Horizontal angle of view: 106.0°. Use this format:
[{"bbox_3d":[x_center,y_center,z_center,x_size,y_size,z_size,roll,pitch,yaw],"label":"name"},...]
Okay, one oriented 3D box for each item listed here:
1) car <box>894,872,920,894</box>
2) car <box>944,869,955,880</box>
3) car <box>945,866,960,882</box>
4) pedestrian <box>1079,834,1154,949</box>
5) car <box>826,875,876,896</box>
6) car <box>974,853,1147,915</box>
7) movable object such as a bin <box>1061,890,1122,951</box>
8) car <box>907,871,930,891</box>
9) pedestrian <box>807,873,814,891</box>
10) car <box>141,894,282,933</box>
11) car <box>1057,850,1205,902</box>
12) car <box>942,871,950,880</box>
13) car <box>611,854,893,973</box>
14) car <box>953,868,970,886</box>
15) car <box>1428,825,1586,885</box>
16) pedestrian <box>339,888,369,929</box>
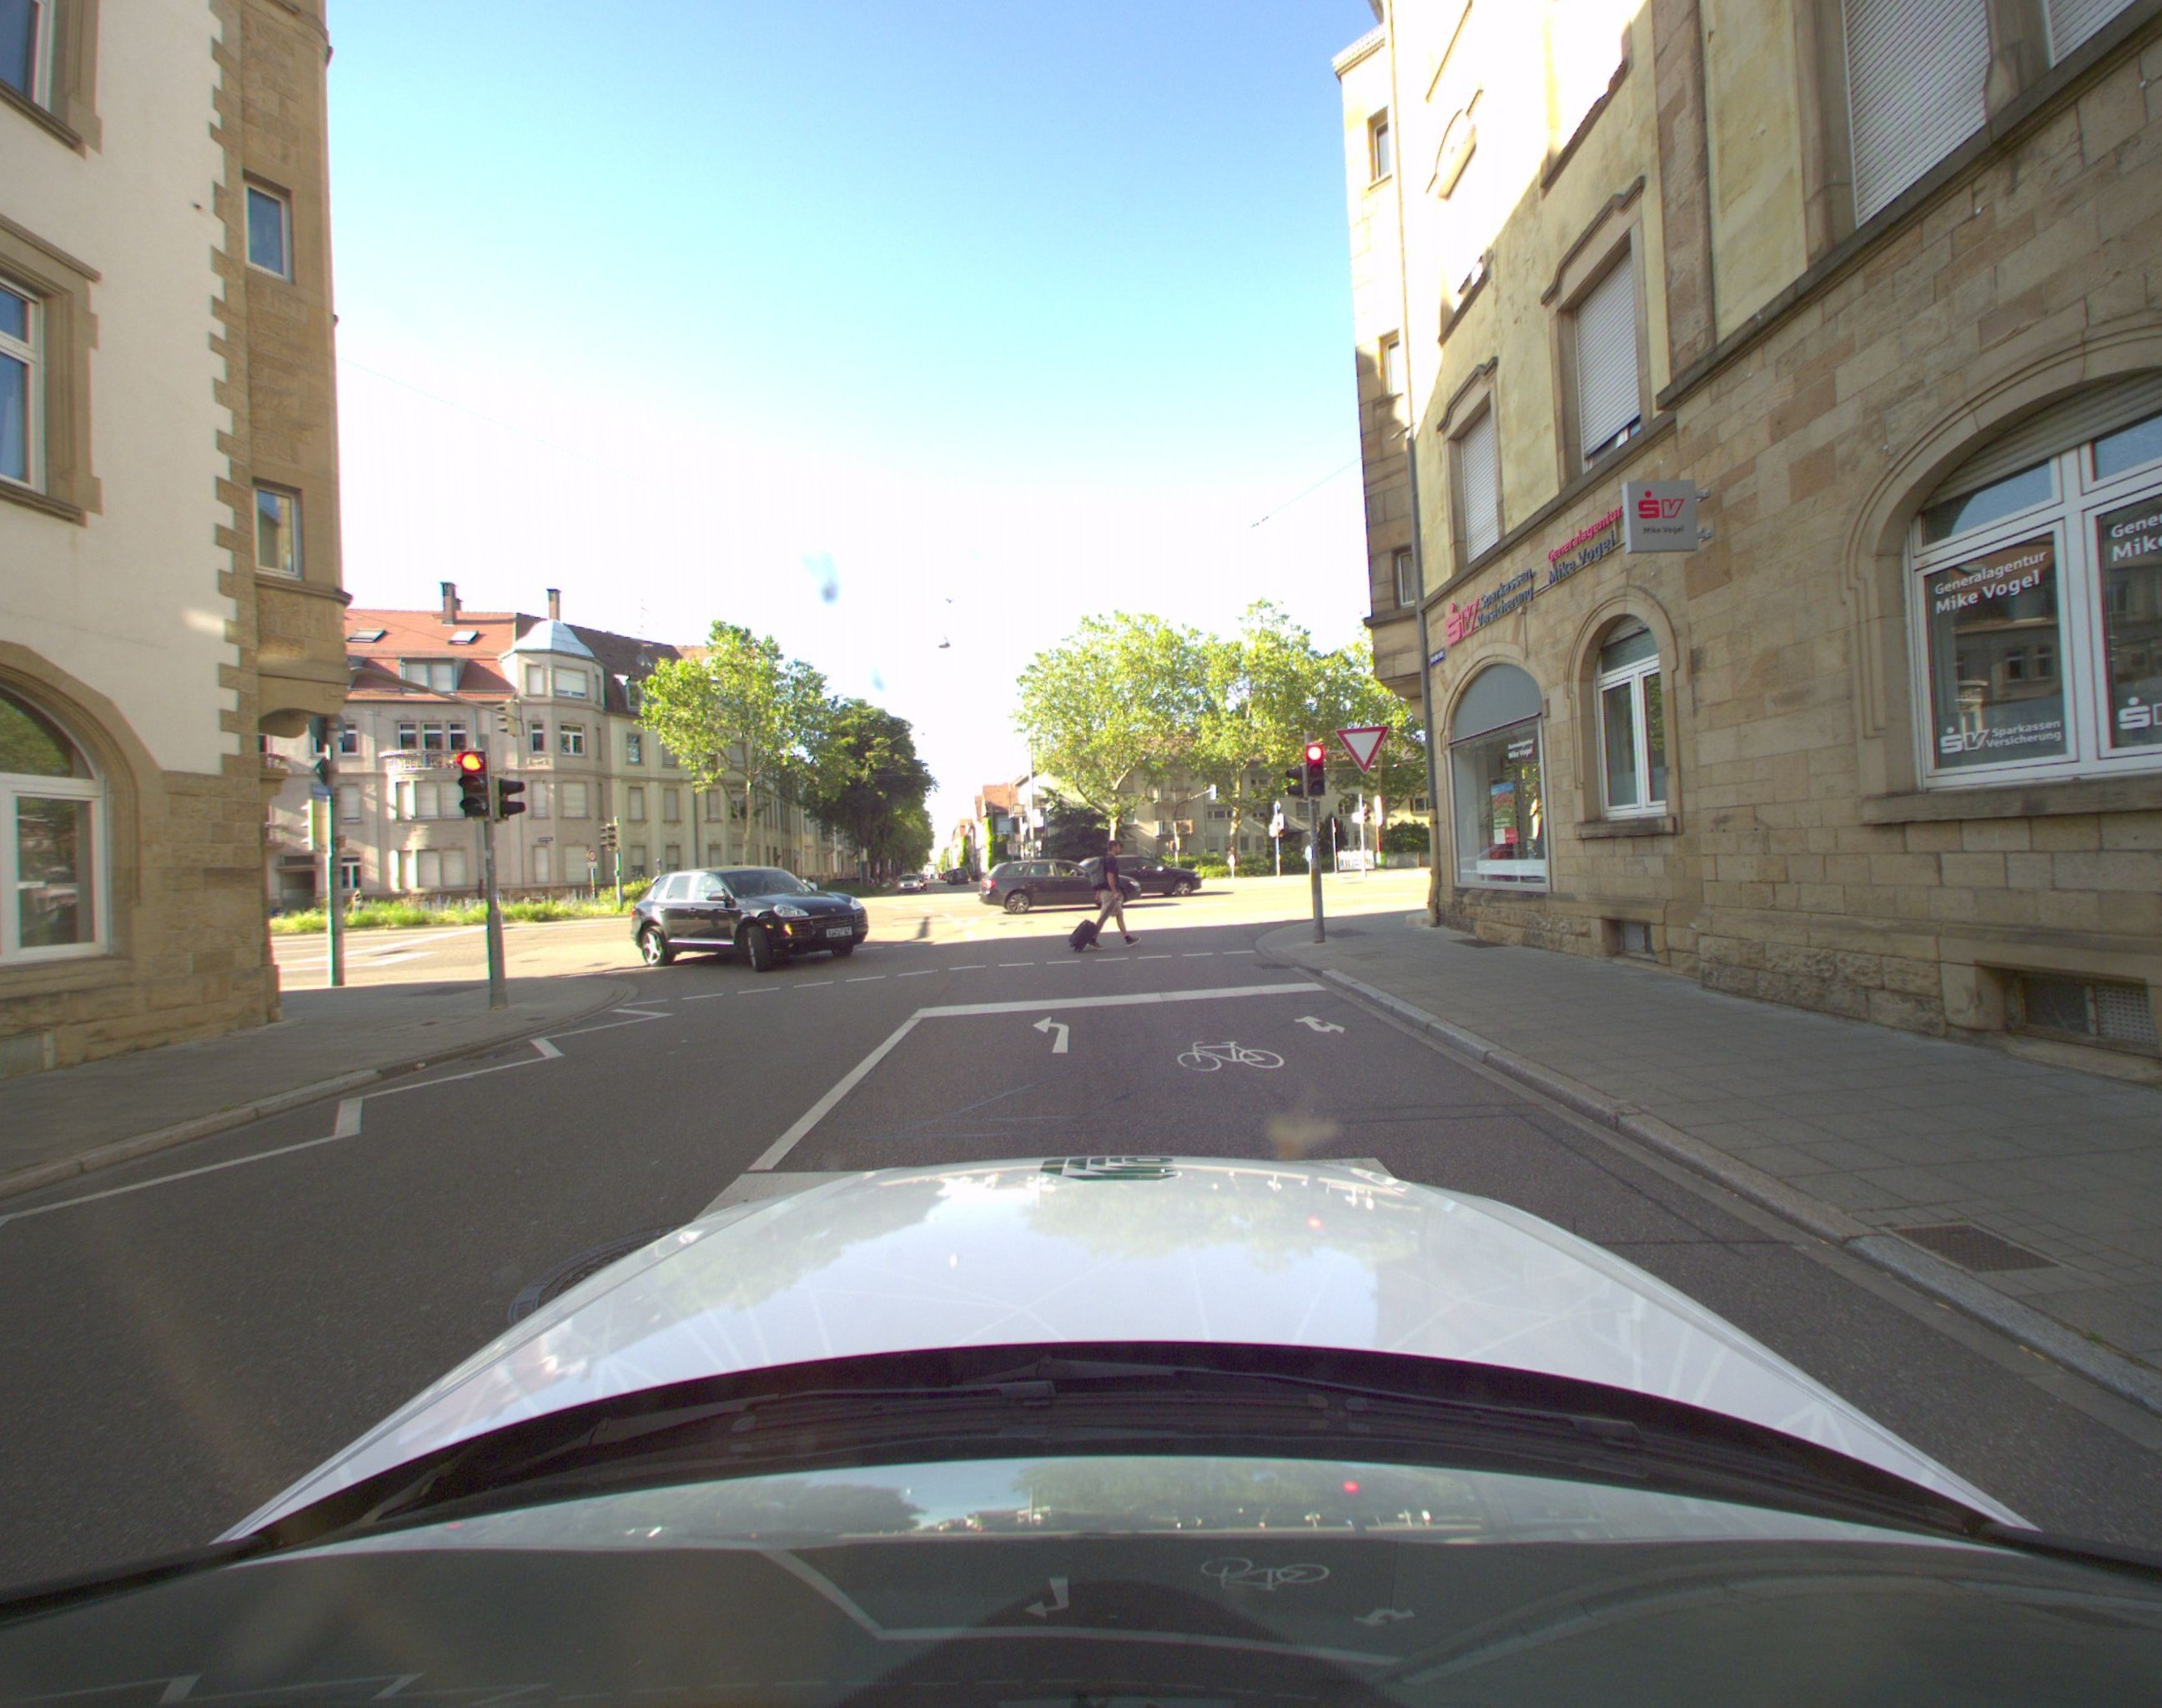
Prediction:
[{"bbox_3d":[-13.598,2.262,63.815,1.698,1.483,3.522,-4,0,-10],"label":"car"},{"bbox_3d":[-23.757,3.704,147.182,1.773,1.918,3.522,-4,0,-10],"label":"car"},{"bbox_3d":[-16.570,2.548,105.201,1.773,1.918,3.522,-4,0,-10],"label":"car"},{"bbox_3d":[0.586,0.608,13.759,1.066,1.848,0.746,-2,-1,-11],"label":"pedestrian"},{"bbox_3d":[-17.956,2.465,63.712,3.636,1.457,1.650,-2,0,-14],"label":"car"},{"bbox_3d":[-0.613,0.805,22.964,4.621,1.456,1.723,-2,0,-13],"label":"car"},{"bbox_3d":[0.165,1.065,13.226,0.862,0.892,0.507,-3,0,-11],"label":"movable object such as a bin"},{"bbox_3d":[-13.878,2.316,69.747,1.698,1.483,3.522,-4,0,-10],"label":"car"},{"bbox_3d":[-21.331,2.208,64.267,0.489,1.442,0.702,0,-1,-13],"label":"pedestrian"},{"bbox_3d":[-37.219,2.521,34.963,3.790,1.400,1.636,-2,0,-17],"label":"car"},{"bbox_3d":[1.657,0.704,27.606,4.620,1.456,1.974,-3,0,-11],"label":"car"},{"bbox_3d":[-30.134,4.813,181.725,1.773,1.918,3.522,-4,0,-10],"label":"car"},{"bbox_3d":[-5.816,1.018,14.279,4.648,1.693,2.093,-4,0,31],"label":"car"},{"bbox_3d":[-13.958,2.696,95.012,1.773,1.918,3.522,-4,0,-10],"label":"car"},{"bbox_3d":[14.195,0.023,27.173,4.668,1.664,1.722,-3,0,-15],"label":"car"},{"bbox_3d":[-36.112,2.689,40.441,0.836,2.014,0.749,0,-1,-15],"label":"pedestrian"}]
